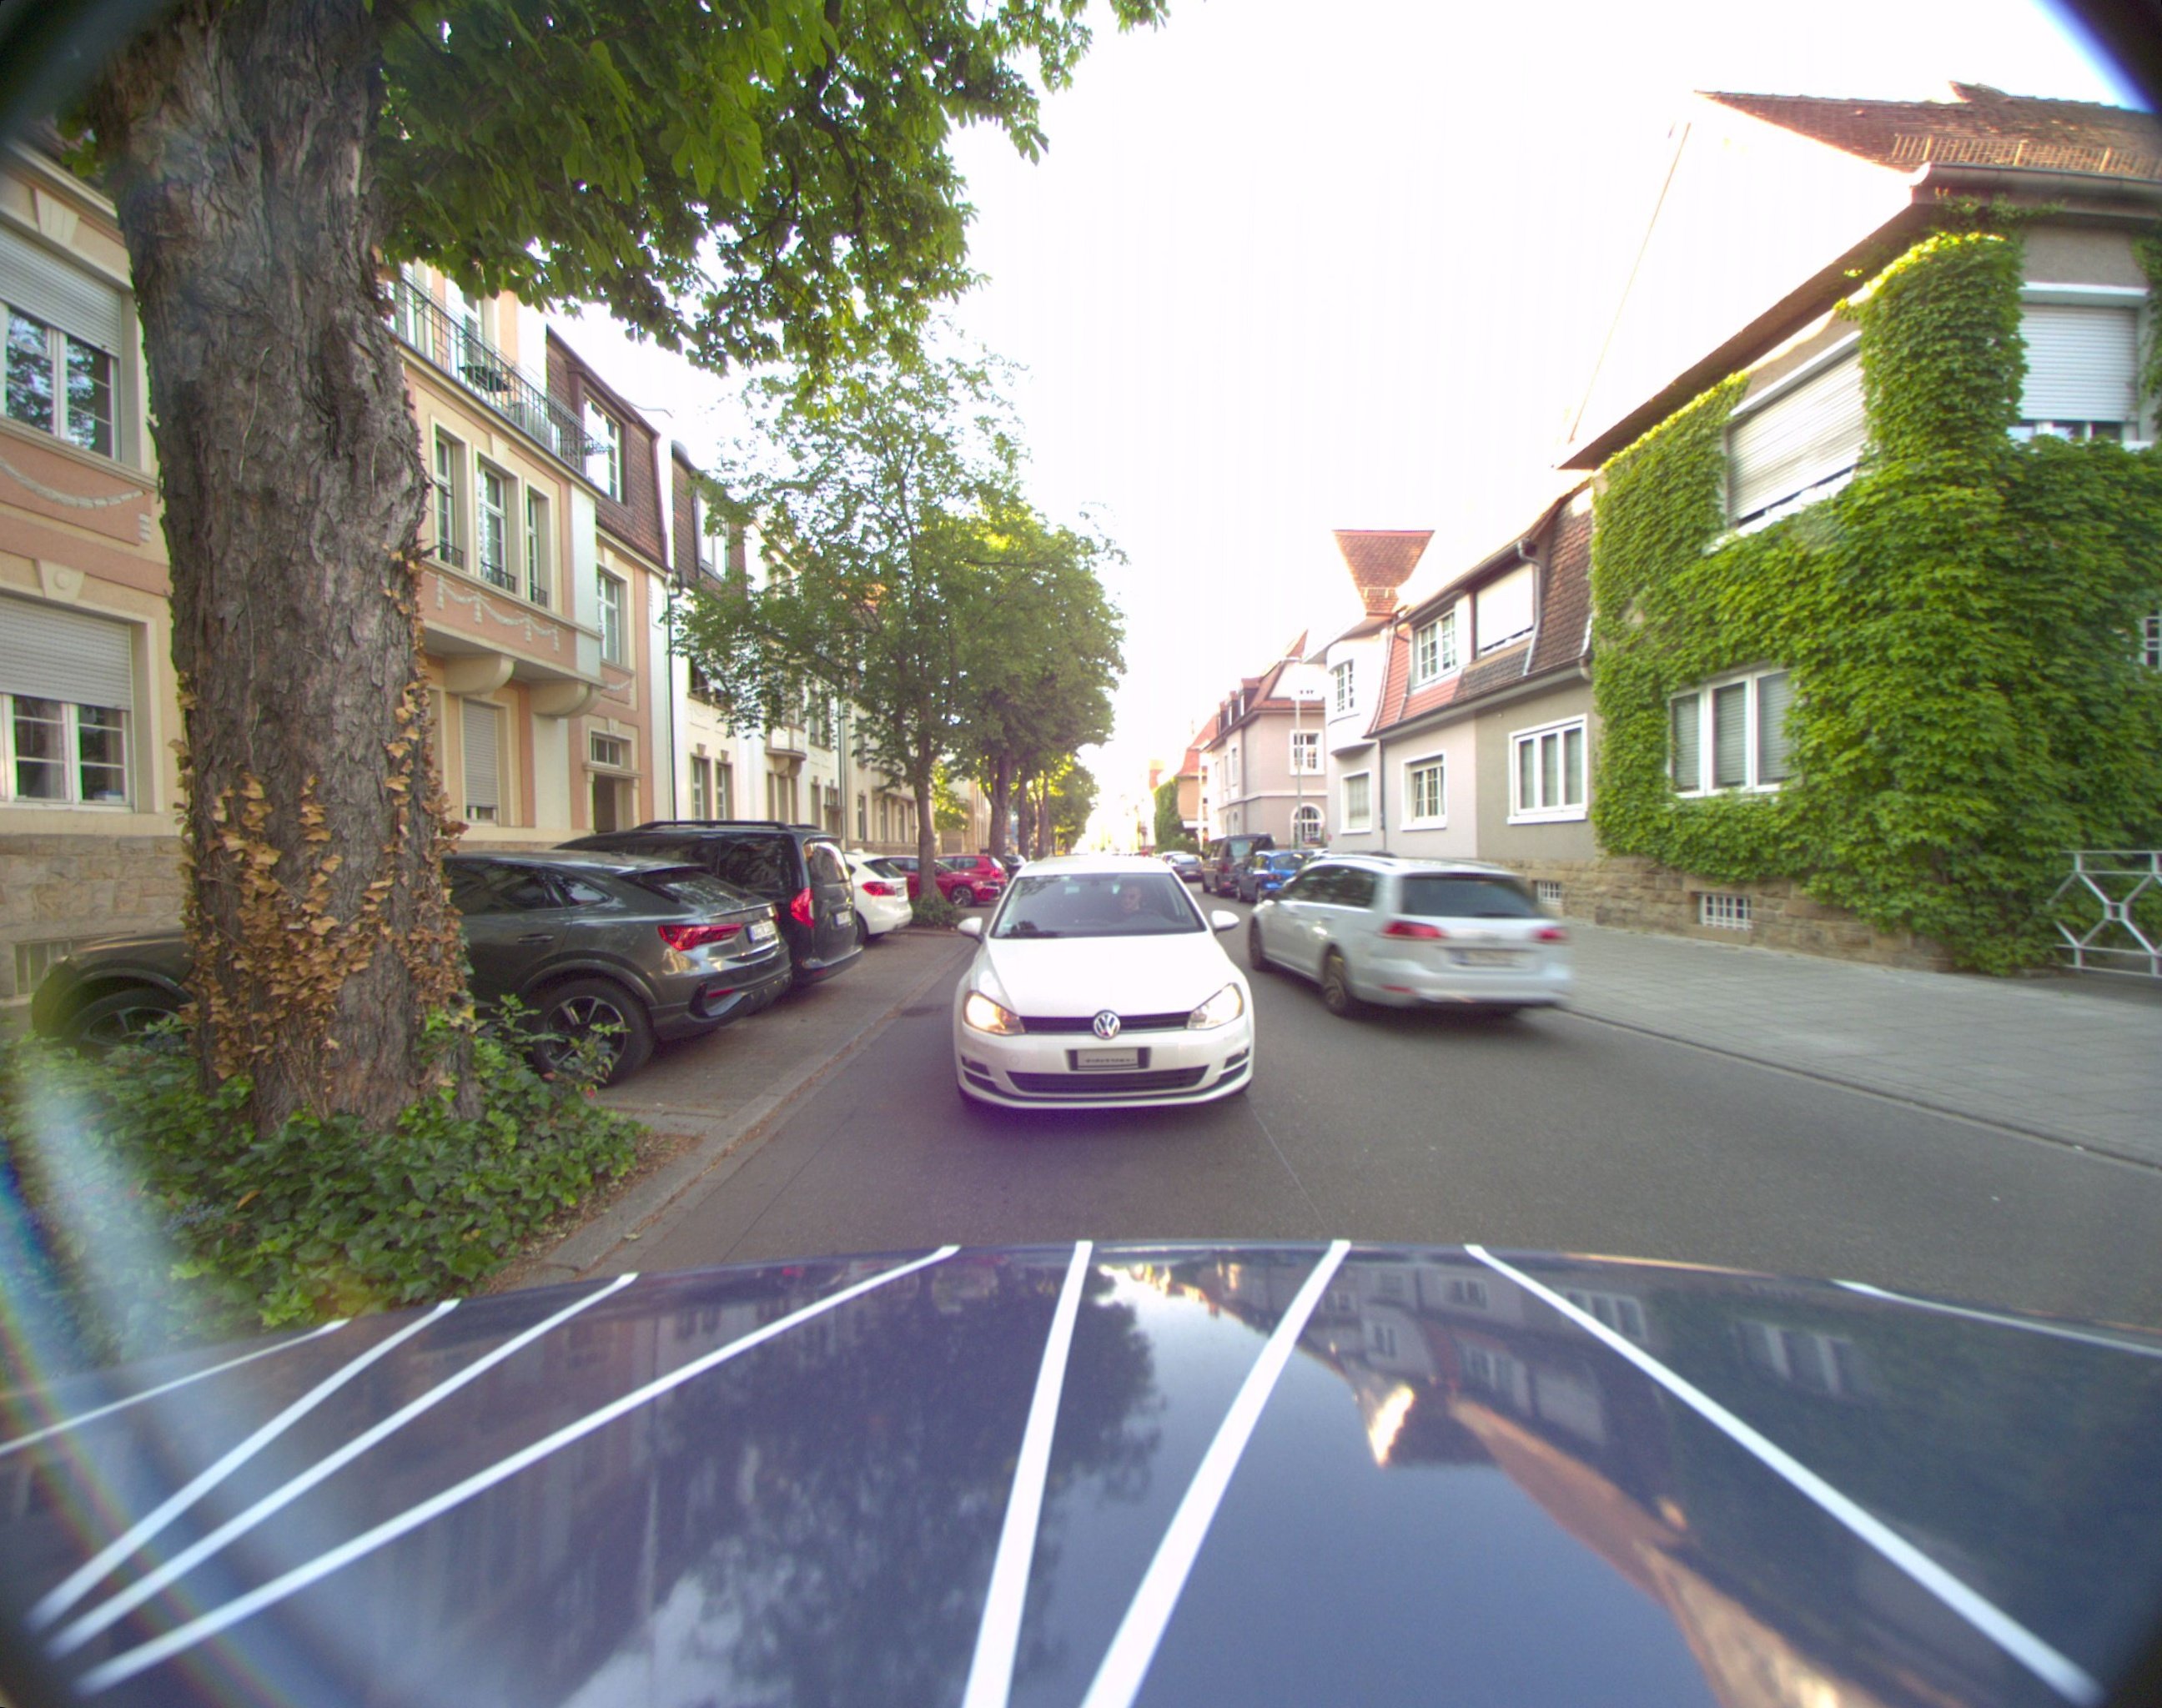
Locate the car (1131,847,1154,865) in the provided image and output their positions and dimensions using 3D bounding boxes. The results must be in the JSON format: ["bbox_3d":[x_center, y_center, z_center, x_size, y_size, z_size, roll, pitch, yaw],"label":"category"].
[{"bbox_3d":[5.497,0.136,68.267,1.643,1.461,3.945,-3,0,0],"label":"car"}]

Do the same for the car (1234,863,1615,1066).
[{"bbox_3d":[3.030,0.864,7.862,1.786,1.453,4.298,1,0,-3],"label":"car"}]

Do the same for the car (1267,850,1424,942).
[{"bbox_3d":[5.101,0.723,15.245,1.751,1.421,4.023,-4,1,1],"label":"car"}]

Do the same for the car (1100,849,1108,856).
[{"bbox_3d":[5.173,-0.434,173.337,1.643,1.461,3.689,-3,0,0],"label":"car"}]

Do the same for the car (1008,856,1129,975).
[{"bbox_3d":[-0.137,0.835,12.173,1.600,1.546,4.000,1,0,1],"label":"car"}]

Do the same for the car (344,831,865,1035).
[{"bbox_3d":[-4.482,0.707,7.672,4.173,1.816,1.594,1,1,-4],"label":"car"}]

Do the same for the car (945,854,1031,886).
[{"bbox_3d":[-4.136,0.720,34.113,3.622,1.395,1.537,0,1,0],"label":"car"}]

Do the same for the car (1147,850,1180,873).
[{"bbox_3d":[5.450,0.467,50.667,1.719,1.363,3.945,-3,0,0],"label":"car"}]

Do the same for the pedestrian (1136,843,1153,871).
[{"bbox_3d":[4.582,0.213,55.061,1.188,2.002,0.931,1,1,4],"label":"pedestrian"}]

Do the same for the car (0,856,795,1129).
[{"bbox_3d":[-4.419,0.842,5.407,4.173,1.583,1.594,1,1,-4],"label":"car"}]

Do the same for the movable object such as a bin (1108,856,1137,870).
[{"bbox_3d":[2.986,0.663,54.916,1.944,0.943,1.432,1,0,-2],"label":"movable object such as a bin"}]

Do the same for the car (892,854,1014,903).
[{"bbox_3d":[-4.041,0.762,24.337,3.622,1.456,1.537,1,1,0],"label":"car"}]

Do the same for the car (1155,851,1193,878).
[{"bbox_3d":[5.130,0.537,42.134,1.541,1.363,3.945,-3,0,0],"label":"car"}]

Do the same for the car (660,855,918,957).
[{"bbox_3d":[-4.612,0.807,12.403,3.623,1.541,1.537,1,1,-4],"label":"car"}]

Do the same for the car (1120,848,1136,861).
[{"bbox_3d":[5.614,0.067,91.165,1.643,1.461,3.689,-3,0,-1],"label":"car"}]

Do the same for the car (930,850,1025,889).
[{"bbox_3d":[-4.168,0.609,30.940,3.622,1.555,1.537,0,1,0],"label":"car"}]

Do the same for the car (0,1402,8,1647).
[{"bbox_3d":[-4.664,0.791,0.512,4.835,1.814,1.880,1,1,-4],"label":"car"}]

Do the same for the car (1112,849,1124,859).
[{"bbox_3d":[5.685,-0.049,115.908,1.643,1.461,3.689,-3,0,0],"label":"car"}]

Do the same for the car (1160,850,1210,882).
[{"bbox_3d":[4.985,0.550,36.870,1.719,1.363,4.334,-3,0,0],"label":"car"}]

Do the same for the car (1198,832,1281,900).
[{"bbox_3d":[5.143,0.321,25.253,1.719,1.961,4.310,-4,1,0],"label":"car"}]

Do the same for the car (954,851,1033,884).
[{"bbox_3d":[-4.196,0.639,36.864,3.622,1.555,1.537,0,1,0],"label":"car"}]

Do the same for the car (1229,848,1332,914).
[{"bbox_3d":[5.219,0.647,20.405,1.611,1.455,4.023,-4,1,0],"label":"car"}]

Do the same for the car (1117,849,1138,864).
[{"bbox_3d":[4.917,0.237,80.684,1.643,1.461,3.688,-3,0,-4],"label":"car"}]

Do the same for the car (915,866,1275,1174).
[{"bbox_3d":[0.037,0.884,5.915,1.799,1.420,4.023,-2,0,-1],"label":"car"}]

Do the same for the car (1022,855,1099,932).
[{"bbox_3d":[-0.404,0.821,17.498,1.560,1.546,3.738,1,0,1],"label":"car"}]

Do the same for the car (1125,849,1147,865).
[{"bbox_3d":[5.413,0.282,75.469,1.643,1.461,3.688,-3,0,-4],"label":"car"}]

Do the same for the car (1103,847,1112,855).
[{"bbox_3d":[5.252,-0.545,149.372,1.643,1.461,3.689,-3,0,0],"label":"car"}]

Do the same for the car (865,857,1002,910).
[{"bbox_3d":[-4.153,0.823,21.755,3.622,1.395,1.537,1,1,0],"label":"car"}]
